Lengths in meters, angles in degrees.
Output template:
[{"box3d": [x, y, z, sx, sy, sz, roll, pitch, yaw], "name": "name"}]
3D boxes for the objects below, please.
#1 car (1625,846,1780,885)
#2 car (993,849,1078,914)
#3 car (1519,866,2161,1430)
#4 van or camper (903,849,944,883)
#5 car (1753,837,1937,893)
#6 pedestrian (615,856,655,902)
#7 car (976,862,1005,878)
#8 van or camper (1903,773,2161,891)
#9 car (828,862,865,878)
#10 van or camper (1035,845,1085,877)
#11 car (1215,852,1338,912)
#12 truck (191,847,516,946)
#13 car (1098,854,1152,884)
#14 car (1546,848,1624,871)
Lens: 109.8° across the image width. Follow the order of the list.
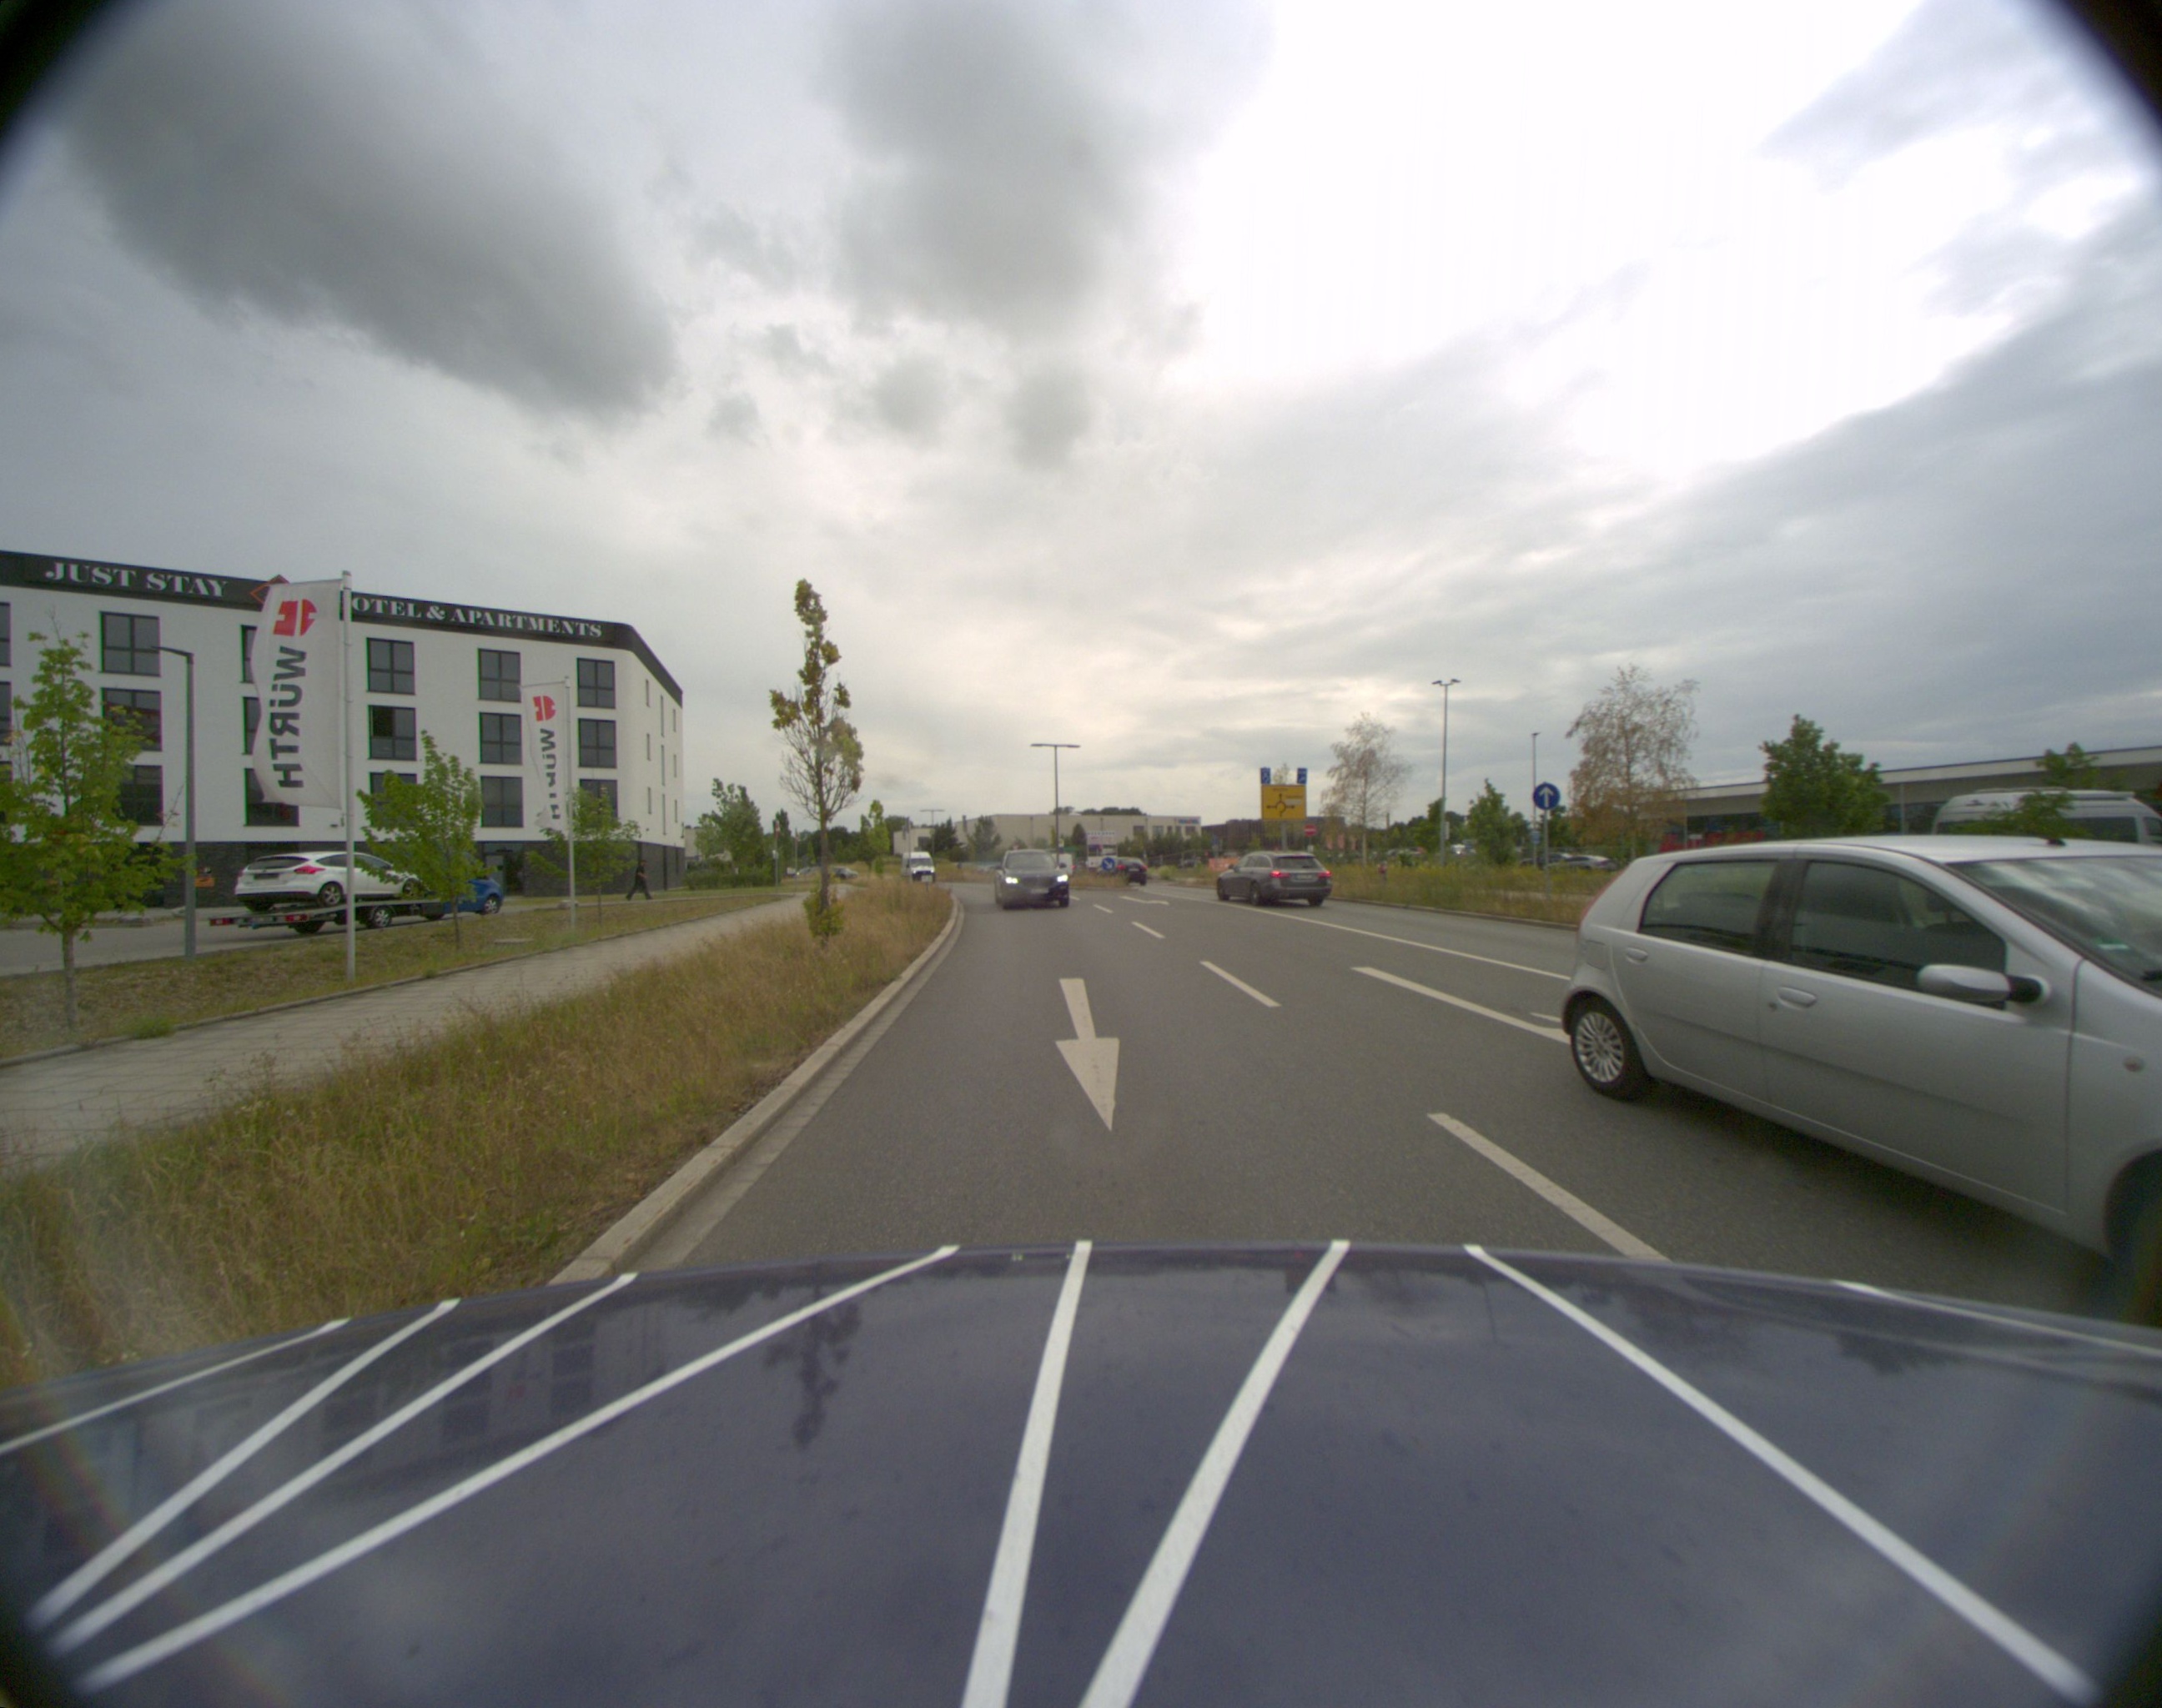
[{"box3d": [24.213, 0.431, 29.698, 4.581, 1.358, 2.140, -1, 0, -8], "name": "car"}, {"box3d": [-1.432, 0.742, 22.312, 2.000, 1.654, 3.996, -2, 0, -10], "name": "car"}, {"box3d": [3.725, 0.809, 2.930, 1.707, 1.429, 4.032, -1, 0, 0], "name": "car"}, {"box3d": [-12.907, 0.946, 61.996, 2.268, 2.601, 5.686, -1, 0, -22], "name": "van or camper"}, {"box3d": [24.278, 0.323, 24.242, 3.955, 1.624, 2.084, -1, 0, -5], "name": "car"}, {"box3d": [-18.987, 1.039, 32.377, 1.196, 1.847, 1.073, -1, 2, -15], "name": "pedestrian"}, {"box3d": [-8.318, 1.425, 69.593, 1.790, 1.313, 3.993, -2, 1, -19], "name": "car"}, {"box3d": [25.029, -0.573, 19.556, 5.870, 2.784, 2.241, -1, 1, -7], "name": "van or camper"}, {"box3d": [-24.914, 1.696, 80.578, 3.989, 1.576, 2.004, -1, 1, 43], "name": "car"}, {"box3d": [-1.479, 0.463, 51.010, 1.954, 1.996, 5.120, -1, 0, -18], "name": "van or camper"}, {"box3d": [5.351, 0.695, 21.491, 1.791, 1.481, 4.764, -1, 0, -6], "name": "car"}, {"box3d": [-20.388, 1.020, 22.235, 2.233, 2.312, 8.210, -1, 0, -6], "name": "truck"}, {"box3d": [2.223, 0.743, 39.338, 1.724, 1.437, 4.230, 0, 0, -12], "name": "car"}, {"box3d": [34.488, 0.387, 52.139, 1.833, 1.443, 4.189, -1, 0, -19], "name": "car"}]
